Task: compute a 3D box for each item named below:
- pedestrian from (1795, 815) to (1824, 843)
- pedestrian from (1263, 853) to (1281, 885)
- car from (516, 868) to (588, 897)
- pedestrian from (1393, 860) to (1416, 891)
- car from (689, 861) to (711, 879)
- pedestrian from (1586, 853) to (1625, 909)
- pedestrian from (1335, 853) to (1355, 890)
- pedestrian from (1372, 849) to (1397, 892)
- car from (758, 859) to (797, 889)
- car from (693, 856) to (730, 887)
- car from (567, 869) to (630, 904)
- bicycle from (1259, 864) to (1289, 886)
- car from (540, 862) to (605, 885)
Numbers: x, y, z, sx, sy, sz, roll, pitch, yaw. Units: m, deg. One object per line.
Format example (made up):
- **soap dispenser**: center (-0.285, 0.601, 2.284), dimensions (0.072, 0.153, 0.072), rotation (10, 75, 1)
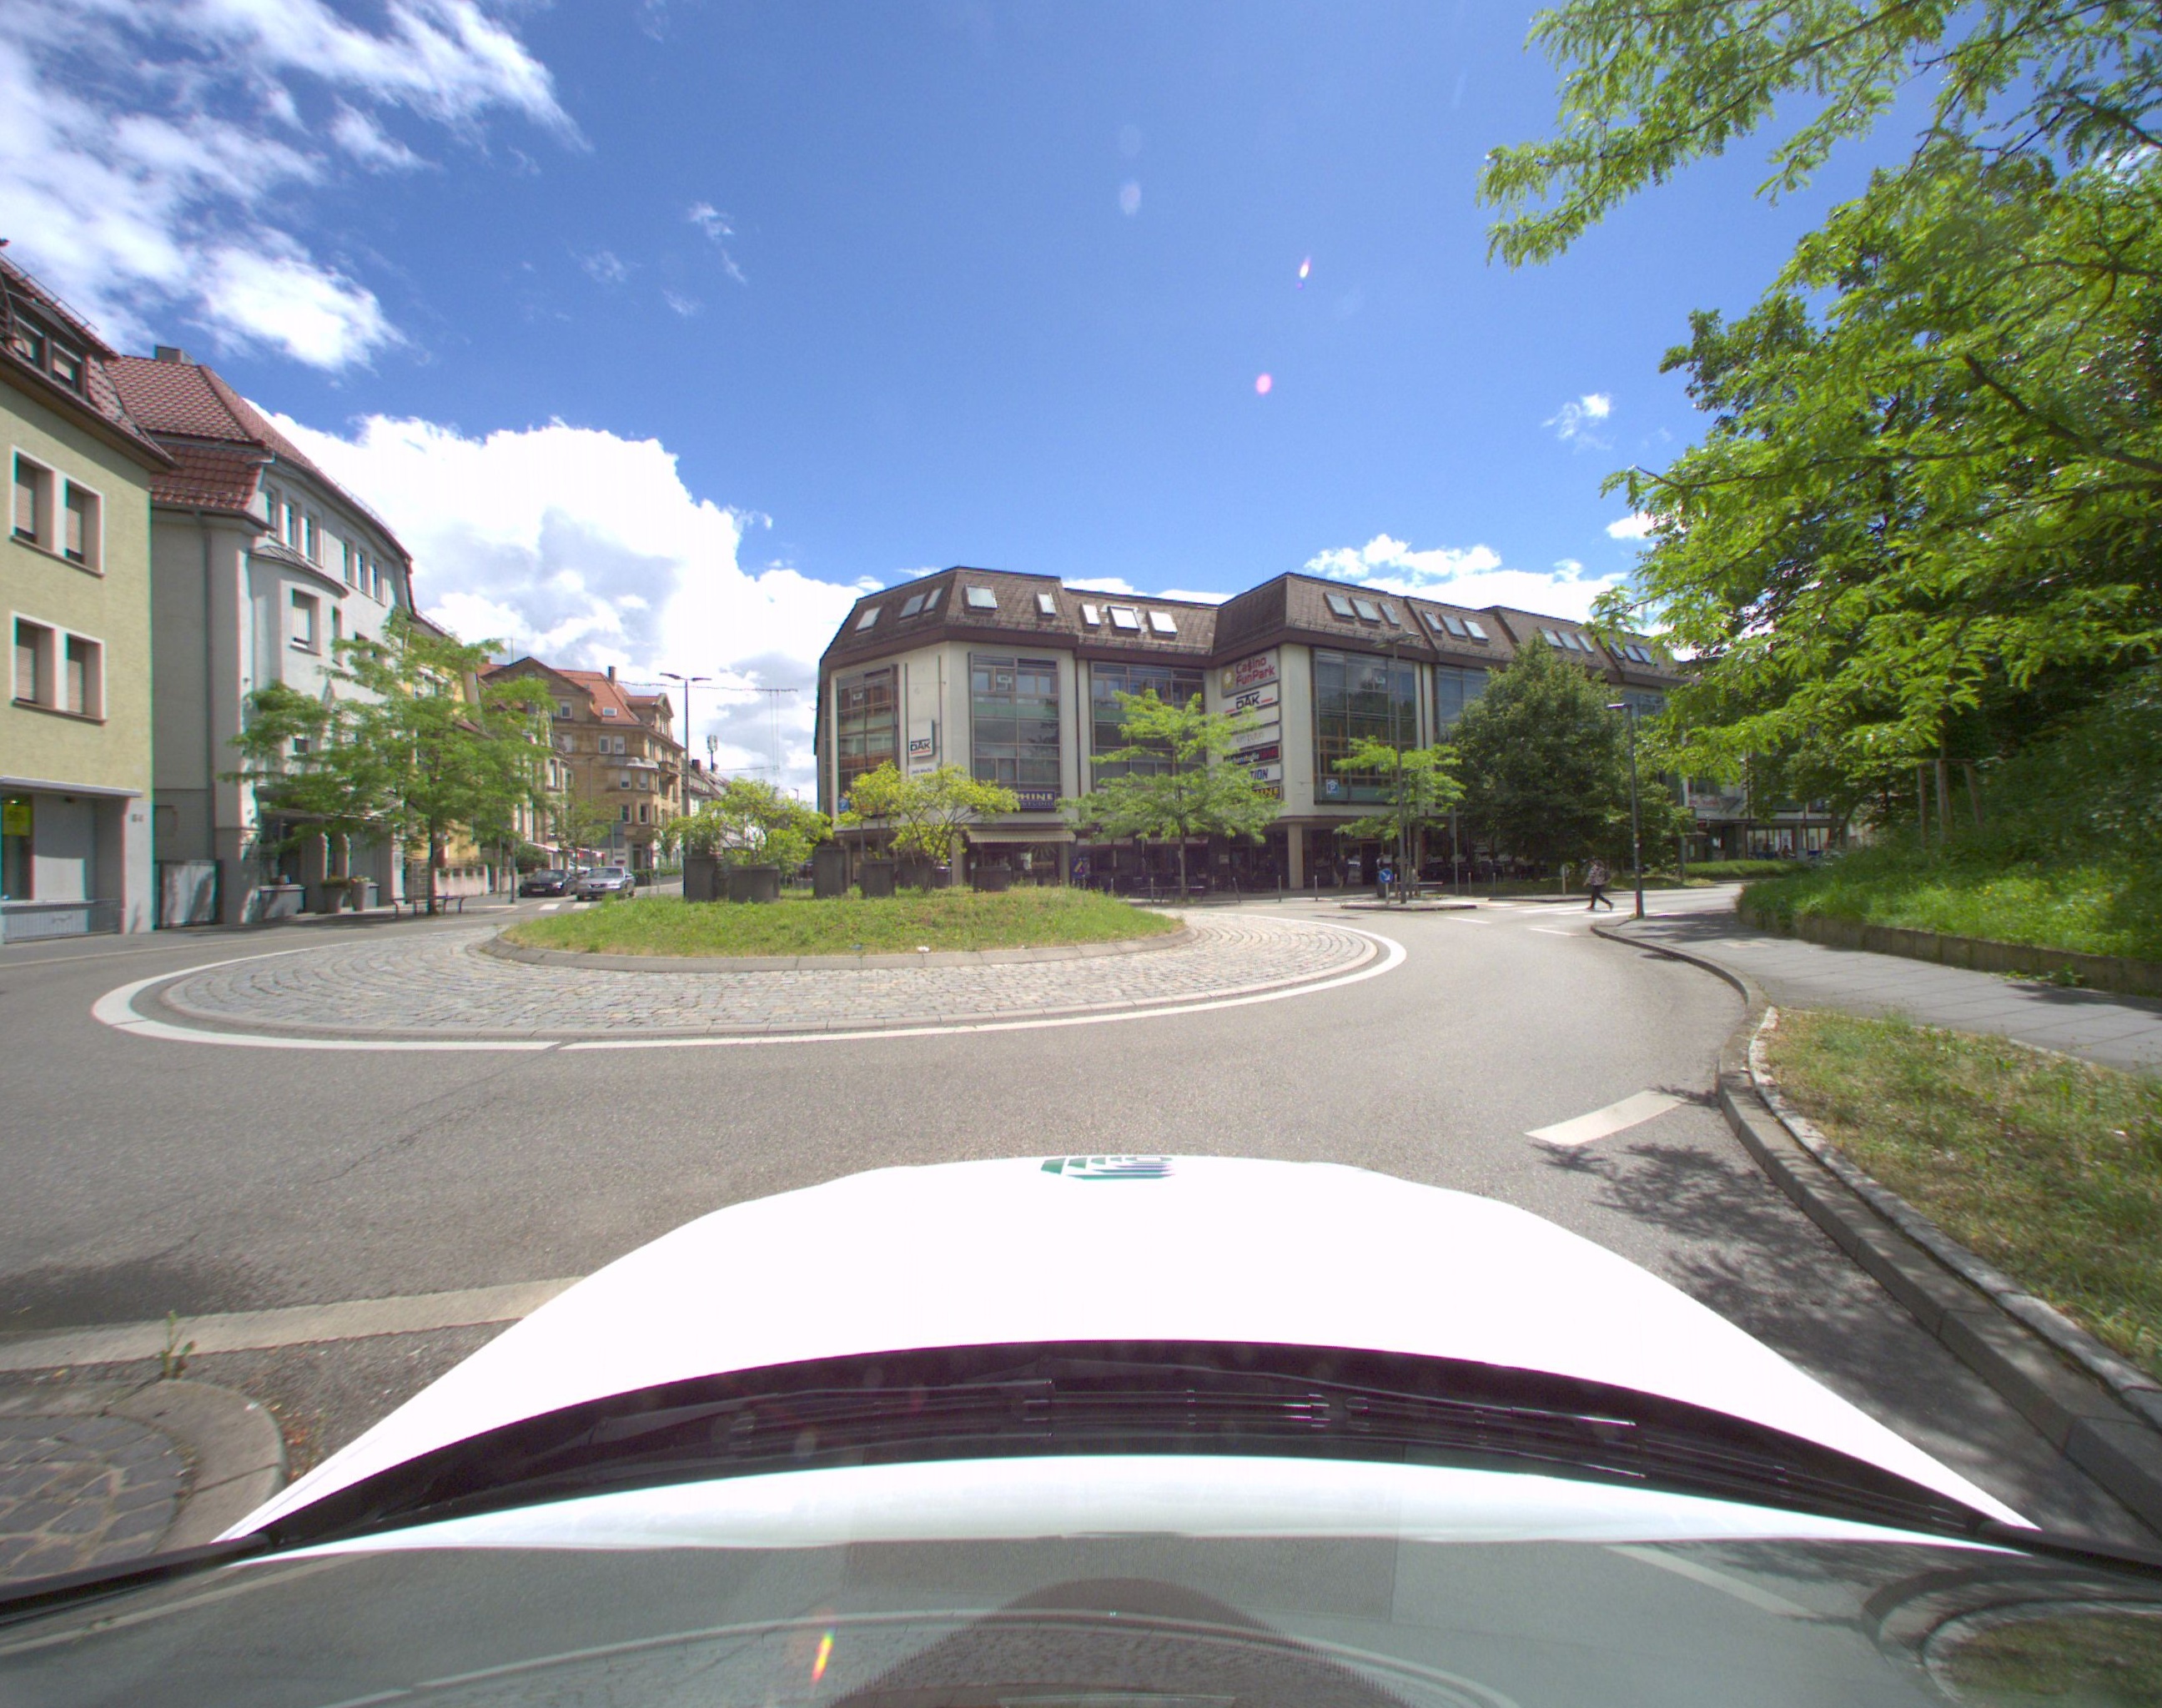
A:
- **pedestrian**: center (55.429, -1.866, 61.992), dimensions (1.091, 2.014, 1.336), rotation (1, -2, -30)
- **pedestrian**: center (10.210, 0.808, 43.556), dimensions (0.700, 1.674, 0.611), rotation (0, -1, -29)
- **car**: center (-25.429, 1.341, 39.280), dimensions (1.713, 1.245, 4.386), rotation (0, 0, -16)
- **pedestrian**: center (13.606, 0.916, 34.270), dimensions (0.617, 1.285, 0.694), rotation (0, -1, -16)
- **car**: center (-38.247, 1.599, 81.772), dimensions (1.716, 1.712, 3.971), rotation (0, 0, -22)
- **pedestrian**: center (14.955, 0.753, 23.253), dimensions (0.757, 1.554, 0.783), rotation (0, -1, 18)
- **pedestrian**: center (12.063, 0.806, 37.188), dimensions (0.701, 1.674, 0.610), rotation (0, -1, -42)
- **pedestrian**: center (13.197, 0.698, 35.367), dimensions (0.618, 1.818, 0.692), rotation (-4, 1, -23)
- **car**: center (-19.189, 1.235, 51.610), dimensions (1.827, 1.731, 4.212), rotation (-2, 0, -15)
- **car**: center (-21.368, 1.024, 47.184), dimensions (1.832, 1.707, 4.405), rotation (1, -1, -24)
- **car**: center (-20.987, 1.374, 35.562), dimensions (1.716, 1.354, 3.971), rotation (0, 0, -22)
- **bicycle**: center (10.278, 1.133, 43.315), dimensions (1.527, 1.168, 0.498), rotation (0, -2, 15)
- **car**: center (-41.613, 1.574, 66.663), dimensions (4.450, 1.776, 1.979), rotation (0, -1, -34)
